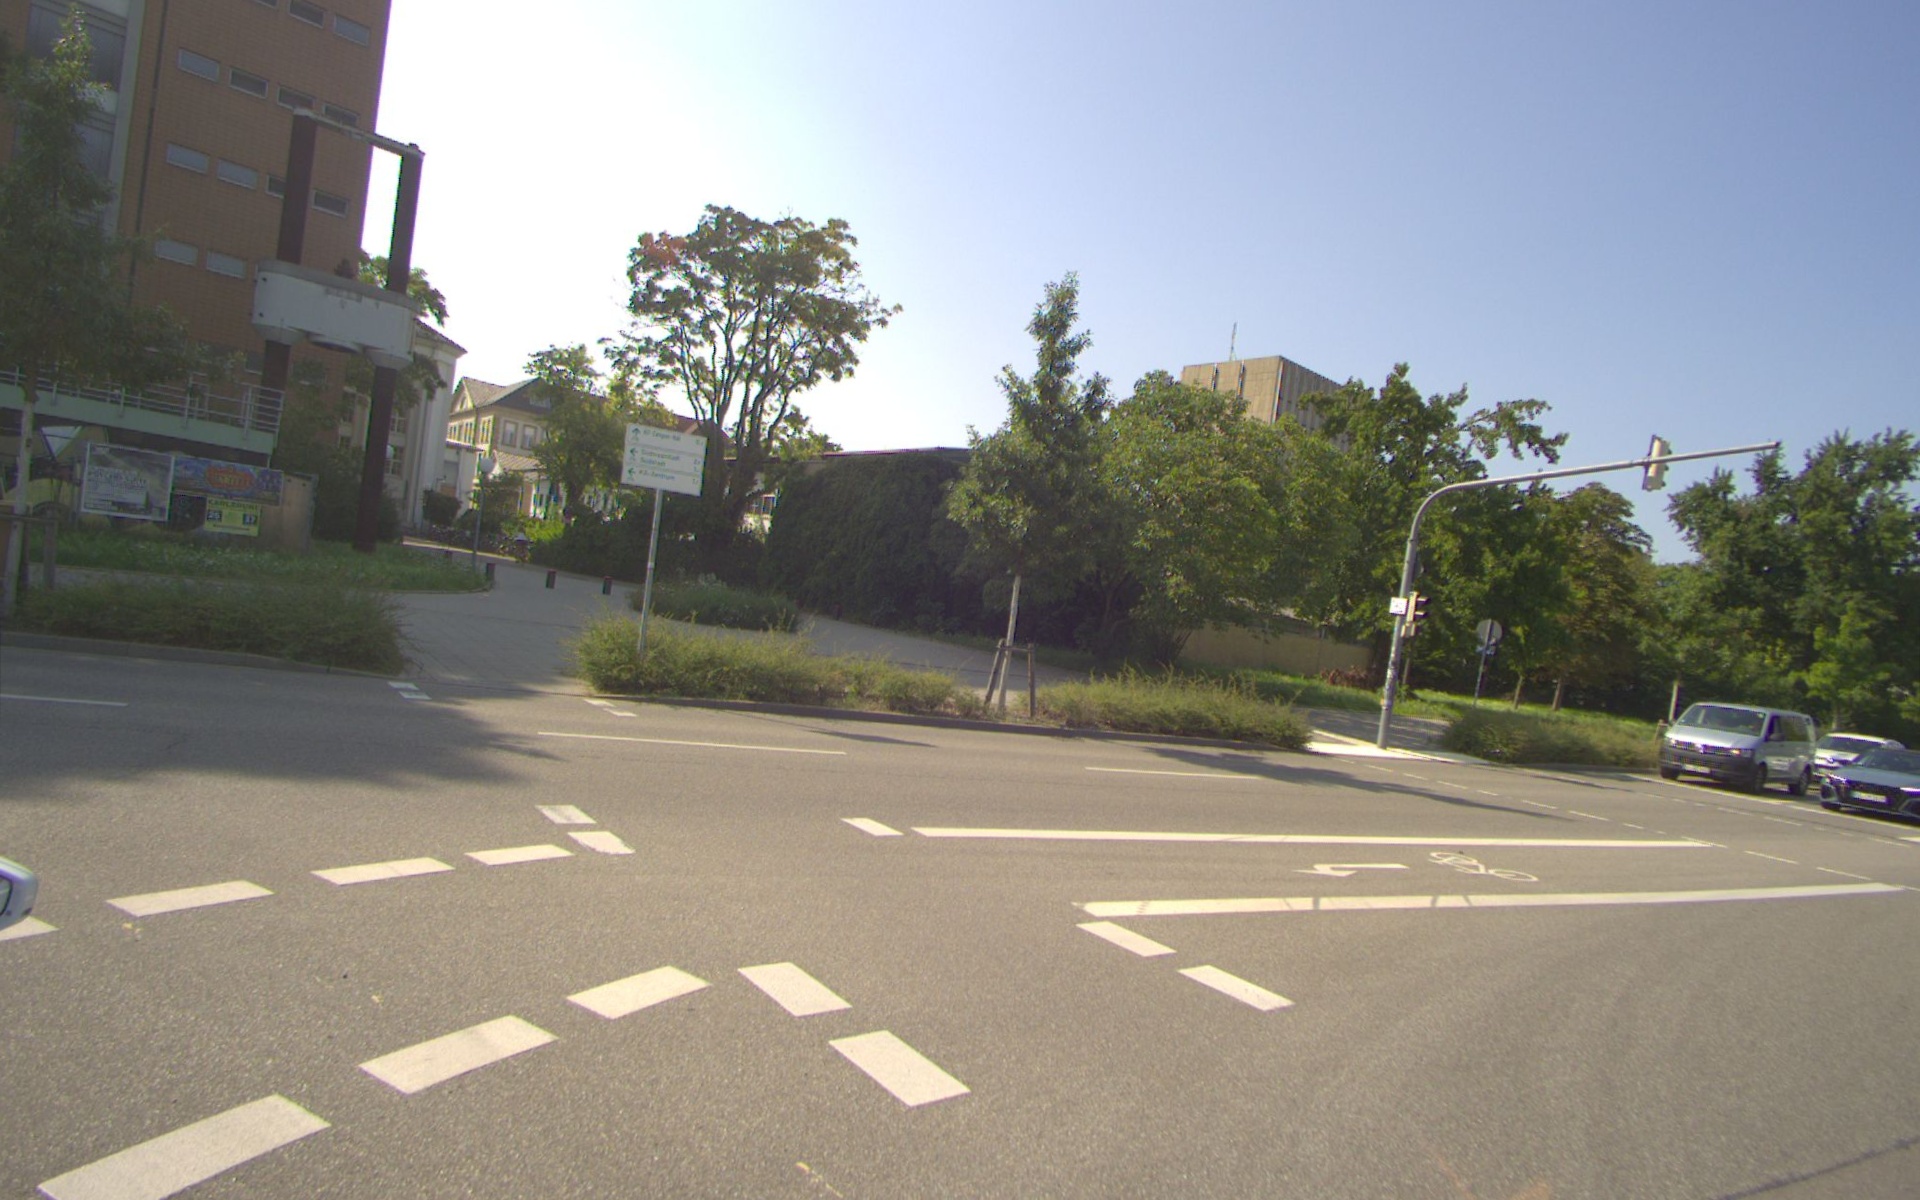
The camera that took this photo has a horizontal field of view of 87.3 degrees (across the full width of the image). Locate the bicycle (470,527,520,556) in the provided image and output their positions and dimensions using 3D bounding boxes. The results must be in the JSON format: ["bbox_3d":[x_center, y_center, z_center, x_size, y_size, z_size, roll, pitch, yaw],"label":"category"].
[{"bbox_3d":[-26.921,-3.382,58.267,2.414,1.238,0.713,10,-1,-34],"label":"bicycle"}]

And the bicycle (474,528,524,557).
[{"bbox_3d":[-26.214,-3.262,57.228,2.414,1.238,0.713,10,-1,-34],"label":"bicycle"}]

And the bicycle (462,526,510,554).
[{"bbox_3d":[-28.510,-3.612,60.519,2.414,1.254,0.713,10,-1,-34],"label":"bicycle"}]

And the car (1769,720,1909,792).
[{"bbox_3d":[24.775,4.401,28.338,3.928,1.524,1.795,8,0,-32],"label":"car"}]

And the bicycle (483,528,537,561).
[{"bbox_3d":[-24.216,-3.006,54.189,2.414,1.334,0.713,10,0,-34],"label":"bicycle"}]

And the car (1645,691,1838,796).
[{"bbox_3d":[18.421,3.408,23.655,4.924,1.898,1.831,8,1,-32],"label":"car"}]

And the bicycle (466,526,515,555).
[{"bbox_3d":[-27.907,-3.518,59.819,2.414,1.248,0.713,10,-1,-34],"label":"bicycle"}]

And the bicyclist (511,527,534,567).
[{"bbox_3d":[-18.919,-2.304,43.518,0.645,1.622,0.912,7,1,-31],"label":"bicyclist"}]

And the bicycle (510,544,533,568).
[{"bbox_3d":[-18.933,-1.921,43.463,0.668,0.890,1.389,7,1,-30],"label":"bicycle"}]

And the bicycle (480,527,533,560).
[{"bbox_3d":[-24.847,-3.090,55.118,2.414,1.334,0.713,10,0,-34],"label":"bicycle"}]

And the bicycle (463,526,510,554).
[{"bbox_3d":[-28.935,-3.654,61.490,2.414,1.243,0.713,10,-1,-34],"label":"bicycle"}]

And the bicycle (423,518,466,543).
[{"bbox_3d":[-35.612,-4.784,69.525,2.414,1.295,0.713,10,0,-34],"label":"bicycle"}]

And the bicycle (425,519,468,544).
[{"bbox_3d":[-35.084,-4.668,68.742,2.414,1.277,0.713,10,-1,-34],"label":"bicycle"}]

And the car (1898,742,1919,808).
[{"bbox_3d":[25.567,4.602,25.102,4.391,1.524,1.983,8,0,-32],"label":"car"}]

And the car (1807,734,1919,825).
[{"bbox_3d":[19.927,3.804,21.014,4.871,1.418,1.895,8,0,-32],"label":"car"}]

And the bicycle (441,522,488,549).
[{"bbox_3d":[-31.114,-4.048,63.185,2.414,1.297,0.713,10,0,-34],"label":"bicycle"}]

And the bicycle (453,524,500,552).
[{"bbox_3d":[-30.072,-3.830,62.593,2.414,1.297,0.713,10,0,-34],"label":"bicycle"}]
